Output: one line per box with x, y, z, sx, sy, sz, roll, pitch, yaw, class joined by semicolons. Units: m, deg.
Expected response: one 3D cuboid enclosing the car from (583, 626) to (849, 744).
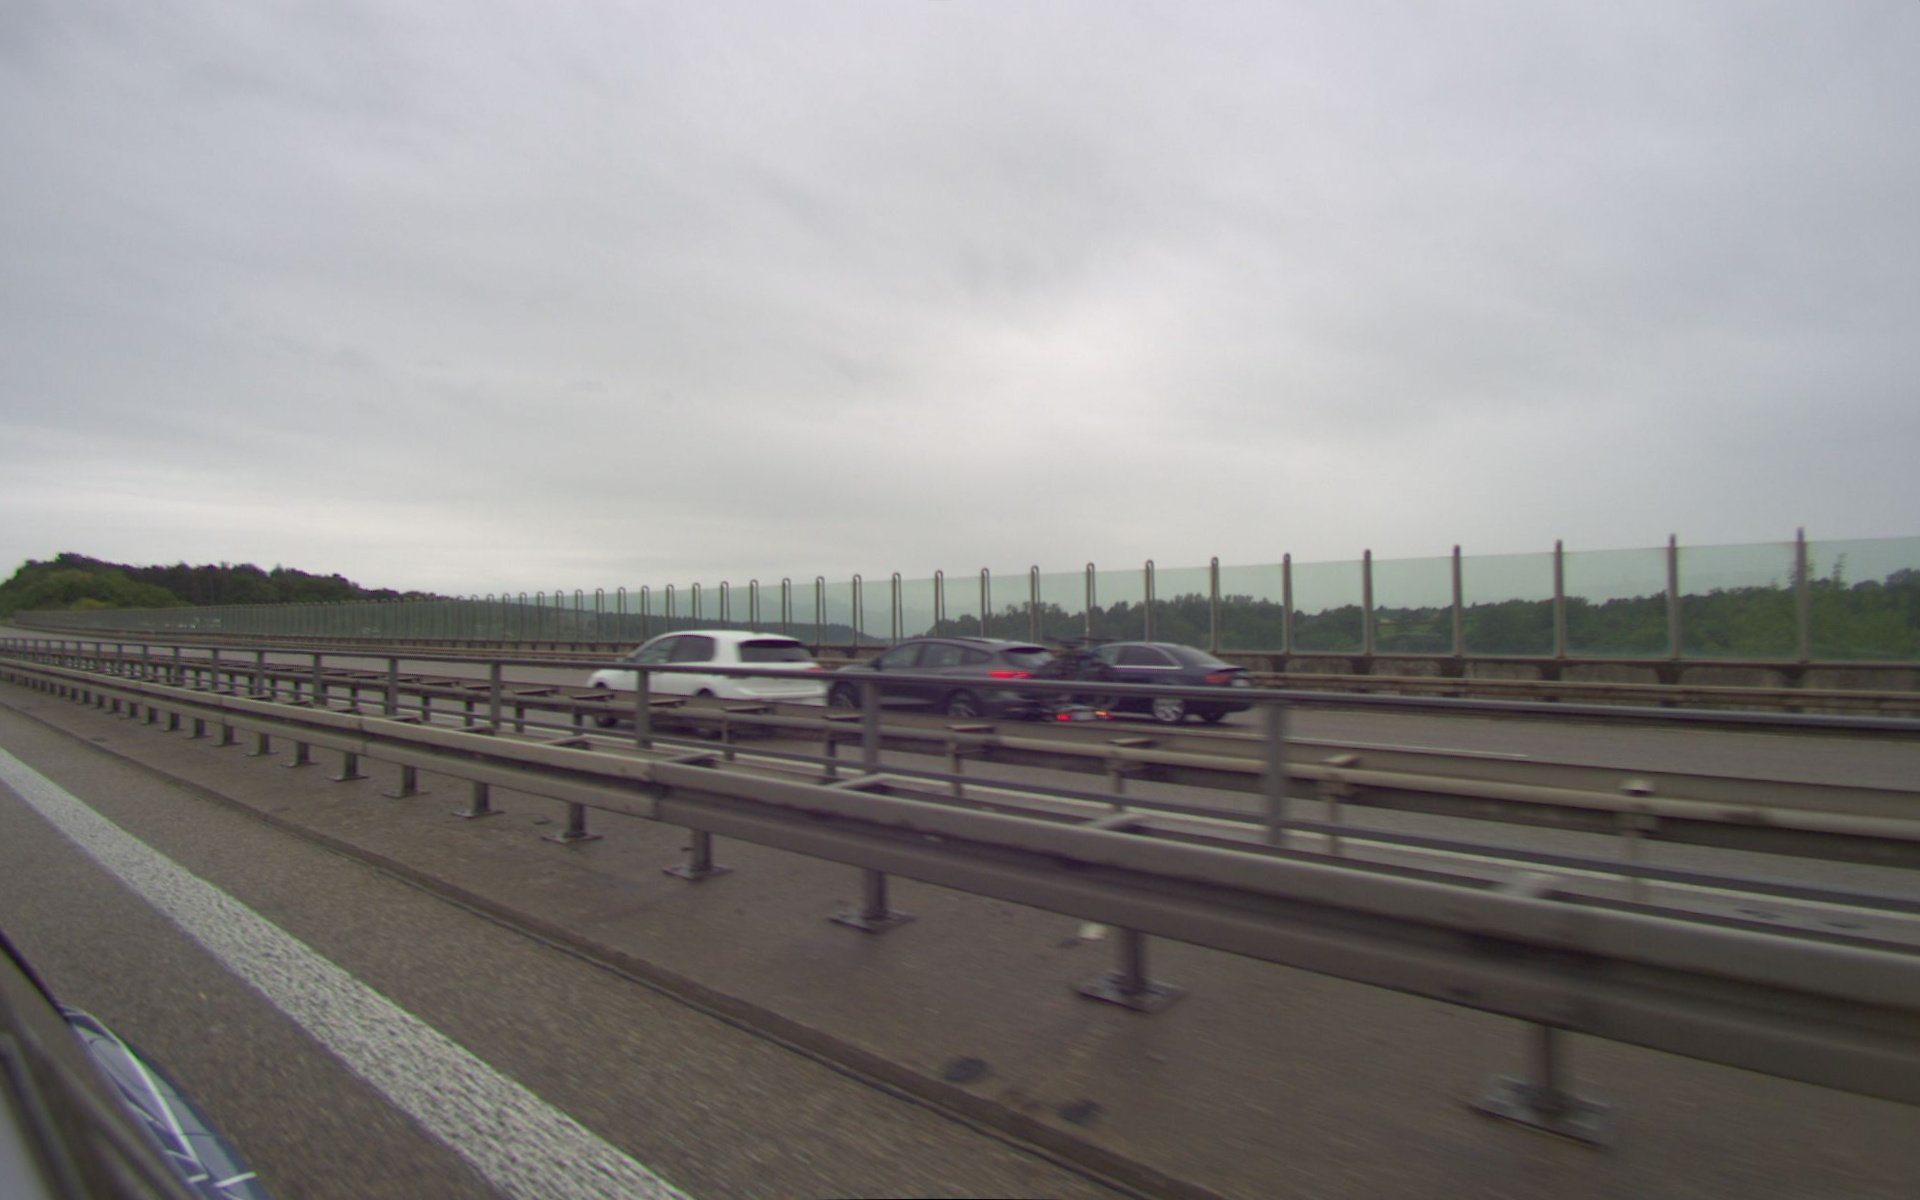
-3.588;1.135;14.494;4.087;1.448;1.639;-2;-3;41;car

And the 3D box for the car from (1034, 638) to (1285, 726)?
3.486;1.392;18.121;4.087;1.399;1.797;-2;-3;41;car

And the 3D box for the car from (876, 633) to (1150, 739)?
0.743;1.264;15.878;4.087;1.448;1.797;-2;-3;41;car
